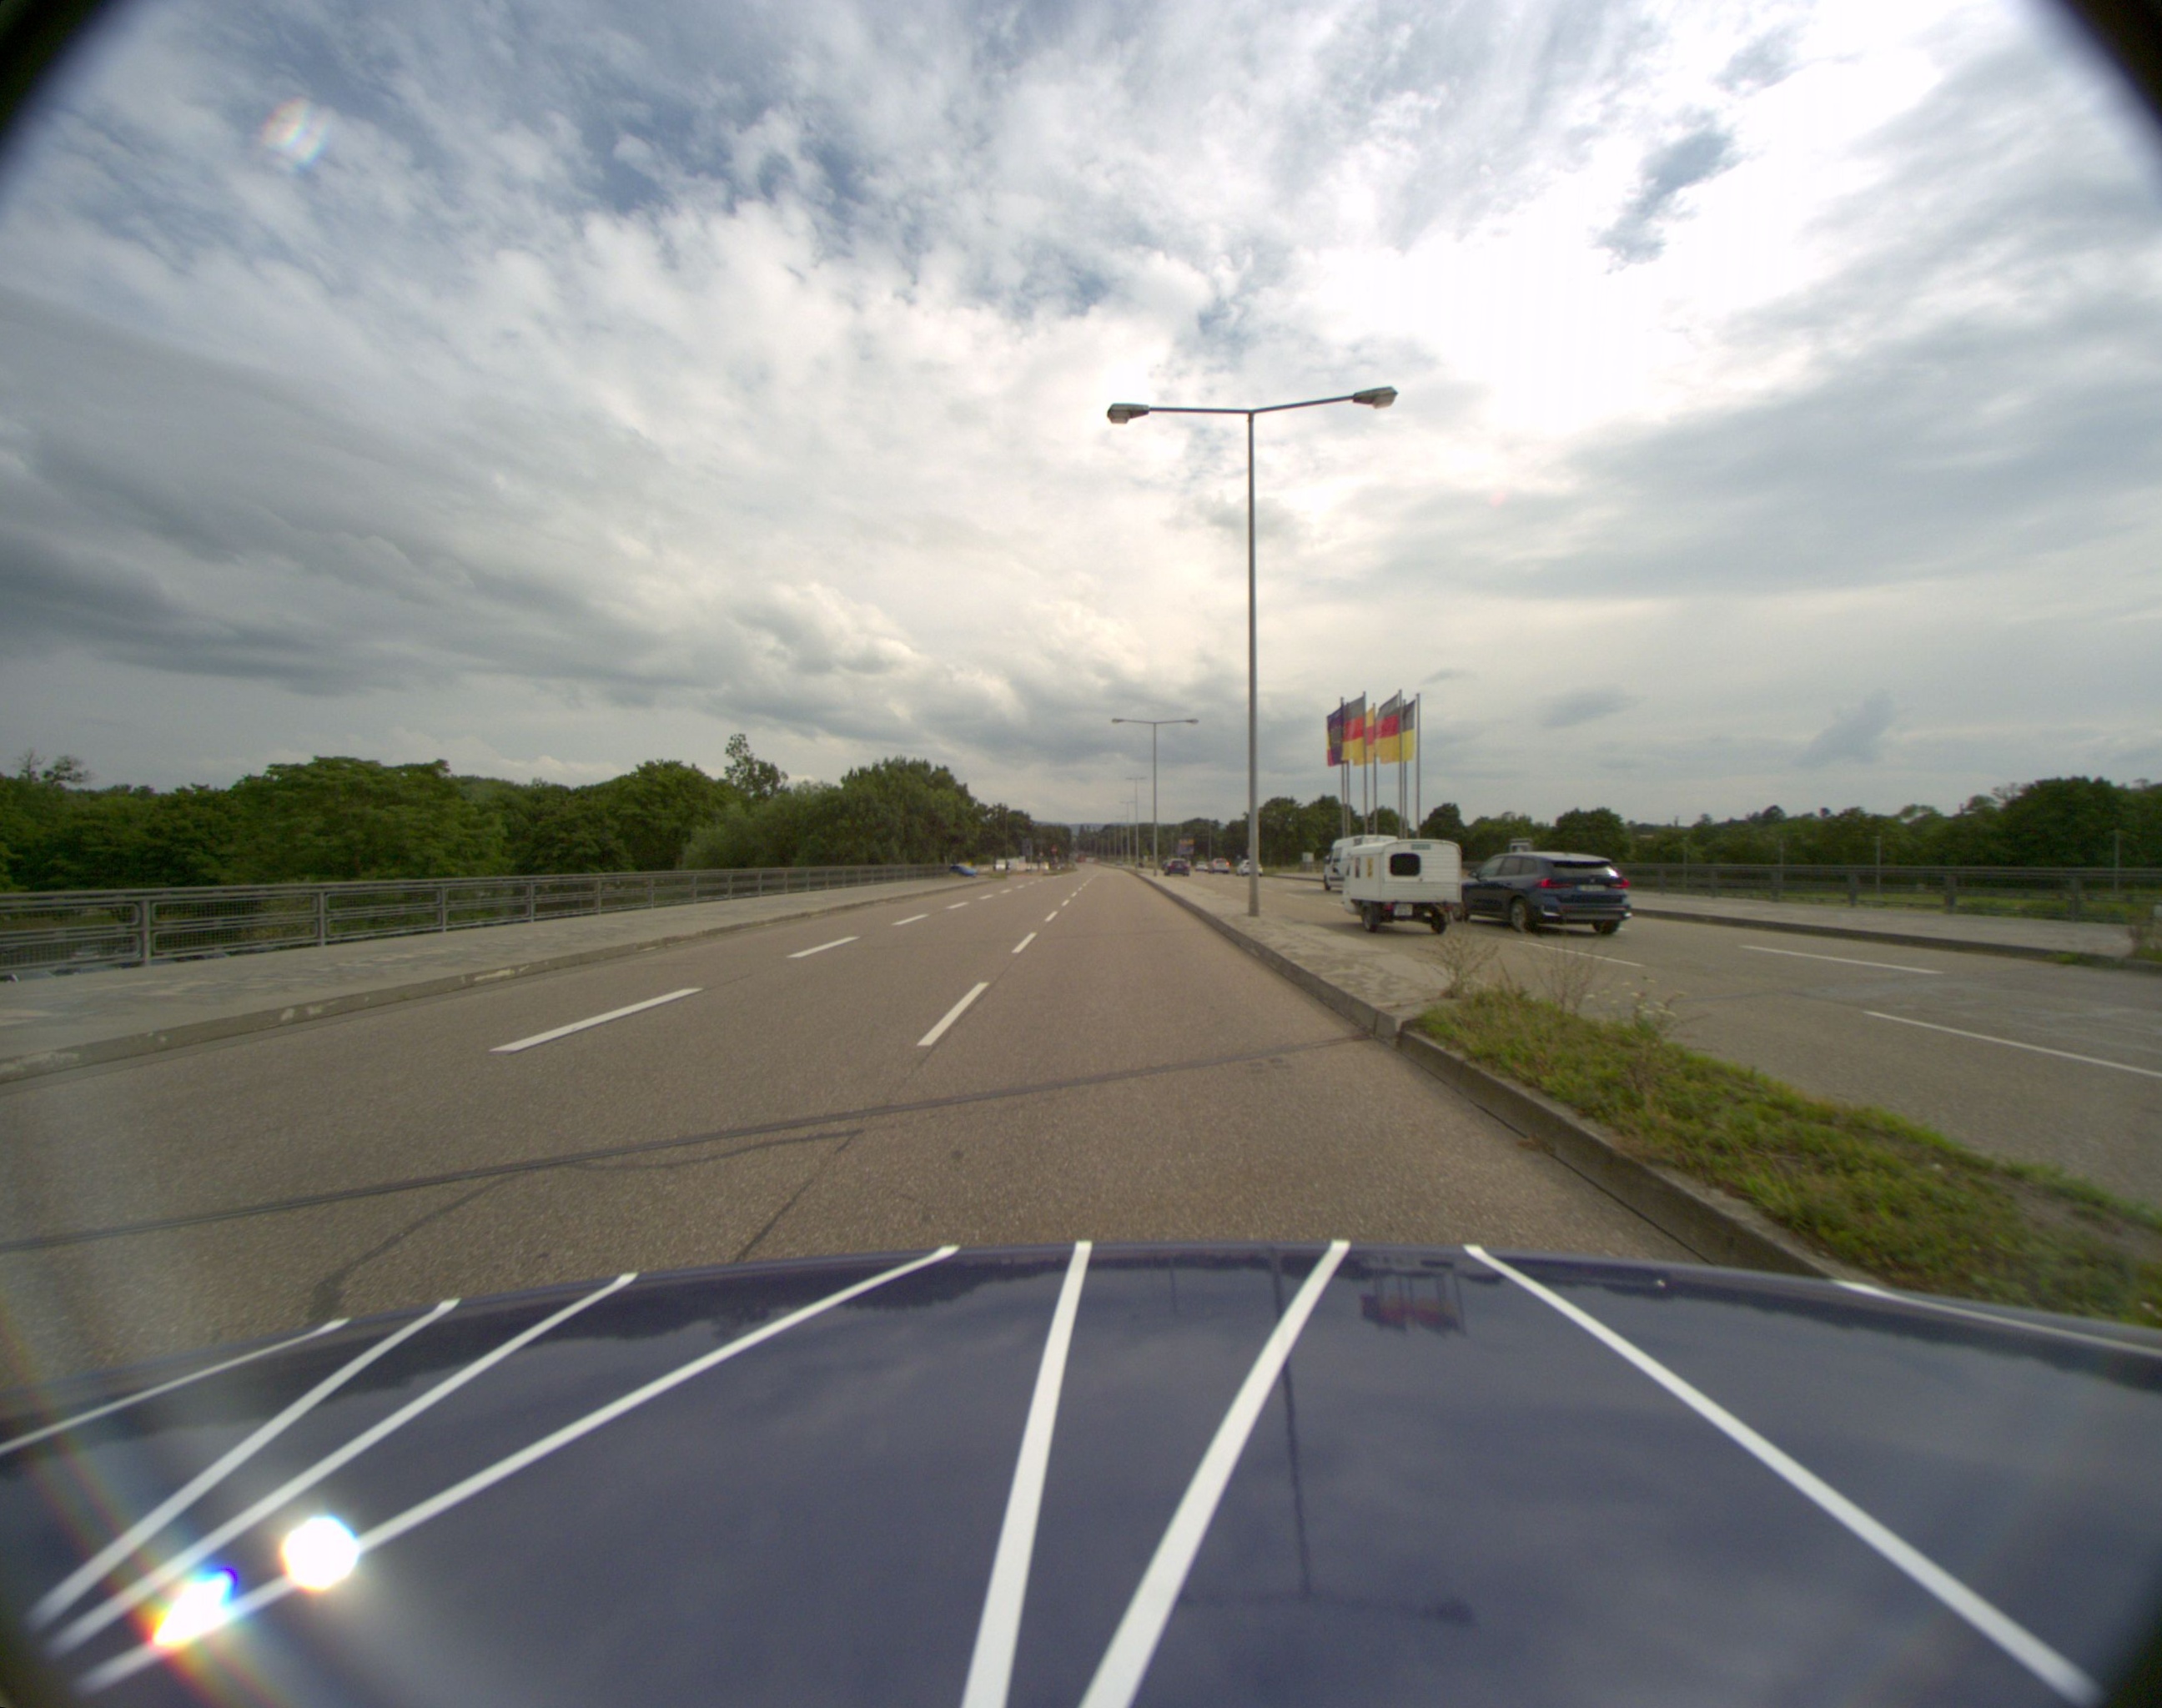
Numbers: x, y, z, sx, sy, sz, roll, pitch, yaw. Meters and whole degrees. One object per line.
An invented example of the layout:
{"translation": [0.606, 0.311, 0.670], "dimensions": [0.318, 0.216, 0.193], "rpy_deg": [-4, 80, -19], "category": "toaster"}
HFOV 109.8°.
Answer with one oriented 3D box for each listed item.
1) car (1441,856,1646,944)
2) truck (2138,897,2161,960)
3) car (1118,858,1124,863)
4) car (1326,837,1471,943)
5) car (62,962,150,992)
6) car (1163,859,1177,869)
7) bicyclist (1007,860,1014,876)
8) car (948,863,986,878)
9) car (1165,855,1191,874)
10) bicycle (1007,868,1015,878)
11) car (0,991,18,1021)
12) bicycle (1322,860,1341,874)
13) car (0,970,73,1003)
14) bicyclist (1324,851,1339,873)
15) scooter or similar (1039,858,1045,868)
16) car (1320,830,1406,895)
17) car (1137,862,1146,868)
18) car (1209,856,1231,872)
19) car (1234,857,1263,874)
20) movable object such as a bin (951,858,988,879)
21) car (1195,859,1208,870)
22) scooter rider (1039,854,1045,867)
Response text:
{"translation": [9.526, 0.854, 16.164], "dimensions": [1.751, 1.576, 4.588], "rpy_deg": [1, 0, 3], "category": "car"}
{"translation": [83.431, 5.282, 55.603], "dimensions": [14.018, 4.318, 3.025], "rpy_deg": [-1, 1, -18], "category": "truck"}
{"translation": [13.354, 2.108, 255.893], "dimensions": [1.852, 1.591, 4.562], "rpy_deg": [0, -1, 1], "category": "car"}
{"translation": [6.189, 0.643, 15.232], "dimensions": [1.543, 1.860, 3.571], "rpy_deg": [1, 0, 3], "category": "car"}
{"translation": [-62.284, 7.820, 48.563], "dimensions": [3.992, 1.565, 2.002], "rpy_deg": [-2, 0, 15], "category": "car"}
{"translation": [14.086, 1.637, 120.255], "dimensions": [1.744, 1.507, 4.316], "rpy_deg": [1, 0, 0], "category": "car"}
{"translation": [-7.581, 1.531, 81.787], "dimensions": [0.666, 1.649, 0.805], "rpy_deg": [-2, -1, 2], "category": "bicyclist"}
{"translation": [-13.031, 1.883, 87.003], "dimensions": [3.990, 1.509, 1.883], "rpy_deg": [-2, 0, 29], "category": "car"}
{"translation": [8.158, 0.859, 63.994], "dimensions": [1.742, 1.472, 4.777], "rpy_deg": [1, 0, 2], "category": "car"}
{"translation": [-7.537, 2.023, 81.843], "dimensions": [0.578, 1.016, 1.976], "rpy_deg": [2, -1, 2], "category": "bicycle"}
{"translation": [-63.013, 8.718, 42.979], "dimensions": [3.992, 1.565, 2.002], "rpy_deg": [-2, 0, 15], "category": "car"}
{"translation": [19.004, 0.967, 57.745], "dimensions": [0.708, 1.043, 2.060], "rpy_deg": [-1, 0, 0], "category": "bicycle"}
{"translation": [-62.572, 7.812, 45.051], "dimensions": [3.992, 1.565, 2.002], "rpy_deg": [-2, 0, 15], "category": "car"}
{"translation": [18.990, 0.588, 57.554], "dimensions": [0.797, 1.617, 0.976], "rpy_deg": [-2, 0, 0], "category": "bicyclist"}
{"translation": [-4.953, 1.141, 95.729], "dimensions": [0.589, 1.217, 1.203], "rpy_deg": [-2, 0, 5], "category": "scooter or similar"}
{"translation": [12.458, 0.363, 34.044], "dimensions": [2.057, 2.627, 6.403], "rpy_deg": [1, 0, 6], "category": "car"}
{"translation": [14.804, 2.700, 186.054], "dimensions": [1.767, 1.432, 4.178], "rpy_deg": [1, -1, 2], "category": "car"}
{"translation": [15.496, 1.100, 84.948], "dimensions": [1.867, 1.715, 4.771], "rpy_deg": [1, 0, 3], "category": "car"}
{"translation": [14.954, 1.000, 68.137], "dimensions": [1.742, 1.472, 4.472], "rpy_deg": [1, 0, 2], "category": "car"}
{"translation": [-15.213, 1.930, 104.155], "dimensions": [4.510, 2.673, 2.103], "rpy_deg": [-2, 0, 6], "category": "movable object such as a bin"}
{"translation": [17.816, 1.516, 112.181], "dimensions": [1.653, 1.506, 4.018], "rpy_deg": [1, -1, 6], "category": "car"}
{"translation": [-4.956, 0.828, 95.741], "dimensions": [0.588, 1.680, 0.744], "rpy_deg": [-2, 0, 5], "category": "scooter rider"}
